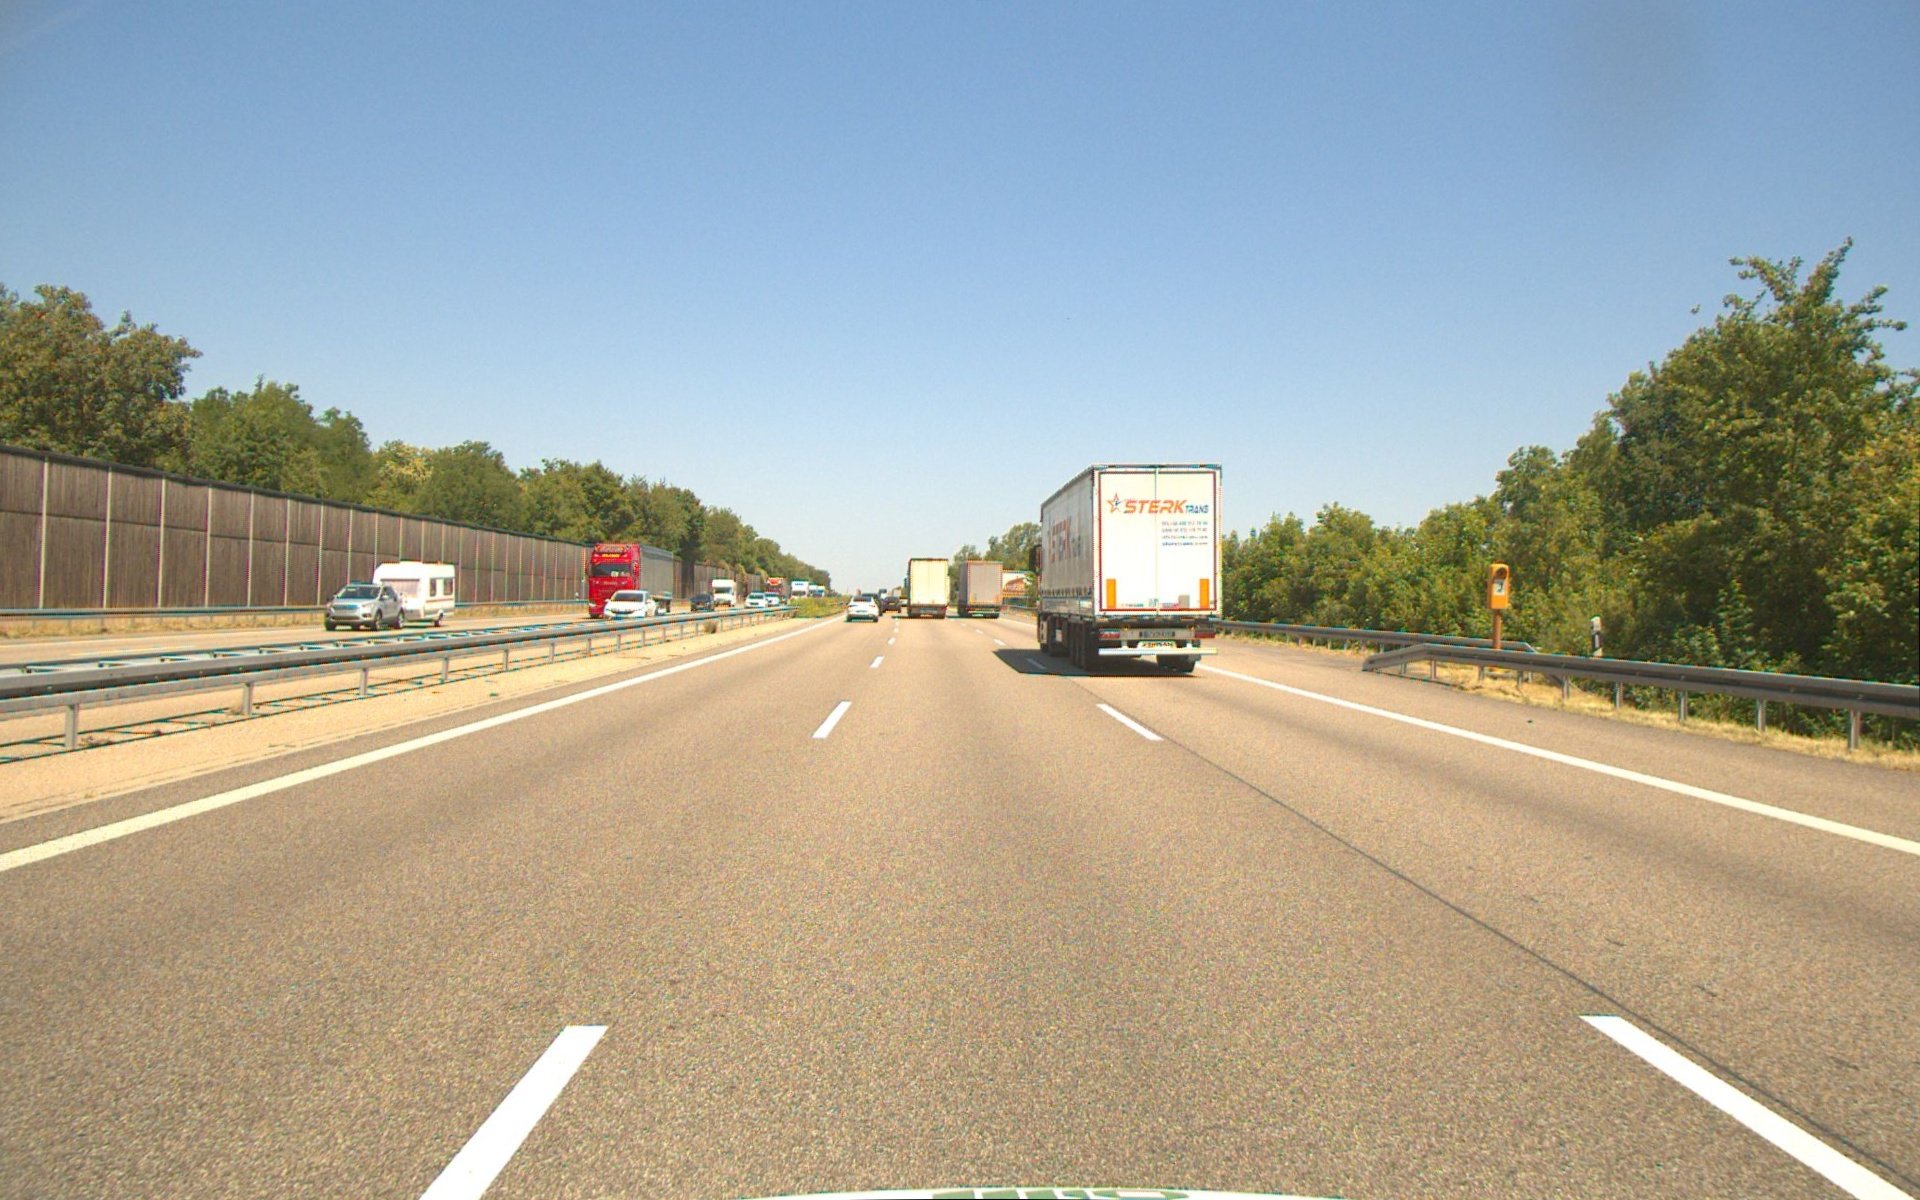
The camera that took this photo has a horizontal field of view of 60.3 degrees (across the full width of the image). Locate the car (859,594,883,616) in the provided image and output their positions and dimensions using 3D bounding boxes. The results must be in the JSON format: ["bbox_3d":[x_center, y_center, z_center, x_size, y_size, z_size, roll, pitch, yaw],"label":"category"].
[{"bbox_3d":[-6.770,0.345,126.031,1.818,1.645,3.998,1,0,-3],"label":"car"}]

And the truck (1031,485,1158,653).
[{"bbox_3d":[3.526,-0.776,44.919,2.652,4.160,6.962,1,0,-2],"label":"truck"}]

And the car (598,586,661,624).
[{"bbox_3d":[-13.991,0.212,70.219,1.860,1.547,4.417,1,0,-2],"label":"car"}]

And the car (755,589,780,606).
[{"bbox_3d":[-18.394,-0.225,158.206,1.880,1.573,4.581,1,0,-1],"label":"car"}]

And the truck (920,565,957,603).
[{"bbox_3d":[-2.712,-1.962,204.841,3.309,4.378,11.436,4,0,-6],"label":"truck"}]

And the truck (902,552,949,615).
[{"bbox_3d":[-2.522,-1.078,117.812,2.653,4.157,13.463,2,0,-4],"label":"truck"}]

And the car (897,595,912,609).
[{"bbox_3d":[-6.941,0.242,207.580,1.818,1.645,3.997,1,0,-3],"label":"car"}]

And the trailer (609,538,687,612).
[{"bbox_3d":[-18.799,-1.428,100.500,2.293,4.147,14.205,1,0,-1],"label":"trailer"}]

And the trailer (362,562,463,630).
[{"bbox_3d":[-21.441,-0.180,65.086,2.088,2.520,6.266,1,0,-2],"label":"trailer"}]

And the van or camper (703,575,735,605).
[{"bbox_3d":[-26.167,-1.054,180.034,2.508,2.963,7.371,5,0,-3],"label":"van or camper"}]

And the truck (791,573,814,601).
[{"bbox_3d":[-19.484,-1.619,204.642,2.361,3.411,6.916,1,0,-3],"label":"truck"}]

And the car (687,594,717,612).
[{"bbox_3d":[-21.058,0.247,135.323,1.880,1.399,4.580,1,0,-2],"label":"car"}]

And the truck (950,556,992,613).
[{"bbox_3d":[0.842,-1.186,129.715,2.638,4.289,7.832,2,0,-4],"label":"truck"}]

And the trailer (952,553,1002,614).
[{"bbox_3d":[1.188,-1.172,124.308,2.650,4.289,13.201,2,0,-4],"label":"trailer"}]

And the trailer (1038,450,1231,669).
[{"bbox_3d":[3.682,-0.777,38.832,2.652,4.160,14.147,1,0,-1],"label":"trailer"}]

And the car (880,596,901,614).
[{"bbox_3d":[-6.290,0.436,149.261,1.818,1.645,3.997,1,0,-4],"label":"car"}]

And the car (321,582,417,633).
[{"bbox_3d":[-21.208,0.240,59.514,1.861,1.741,4.904,1,0,-2],"label":"car"}]

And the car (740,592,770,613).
[{"bbox_3d":[-16.225,0.178,131.212,1.768,1.571,4.246,1,0,1],"label":"car"}]

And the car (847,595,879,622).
[{"bbox_3d":[-5.627,0.487,96.198,1.818,1.512,3.998,1,0,-3],"label":"car"}]

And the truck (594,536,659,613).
[{"bbox_3d":[-18.634,-1.403,92.873,2.310,4.147,7.151,1,0,-1],"label":"truck"}]
